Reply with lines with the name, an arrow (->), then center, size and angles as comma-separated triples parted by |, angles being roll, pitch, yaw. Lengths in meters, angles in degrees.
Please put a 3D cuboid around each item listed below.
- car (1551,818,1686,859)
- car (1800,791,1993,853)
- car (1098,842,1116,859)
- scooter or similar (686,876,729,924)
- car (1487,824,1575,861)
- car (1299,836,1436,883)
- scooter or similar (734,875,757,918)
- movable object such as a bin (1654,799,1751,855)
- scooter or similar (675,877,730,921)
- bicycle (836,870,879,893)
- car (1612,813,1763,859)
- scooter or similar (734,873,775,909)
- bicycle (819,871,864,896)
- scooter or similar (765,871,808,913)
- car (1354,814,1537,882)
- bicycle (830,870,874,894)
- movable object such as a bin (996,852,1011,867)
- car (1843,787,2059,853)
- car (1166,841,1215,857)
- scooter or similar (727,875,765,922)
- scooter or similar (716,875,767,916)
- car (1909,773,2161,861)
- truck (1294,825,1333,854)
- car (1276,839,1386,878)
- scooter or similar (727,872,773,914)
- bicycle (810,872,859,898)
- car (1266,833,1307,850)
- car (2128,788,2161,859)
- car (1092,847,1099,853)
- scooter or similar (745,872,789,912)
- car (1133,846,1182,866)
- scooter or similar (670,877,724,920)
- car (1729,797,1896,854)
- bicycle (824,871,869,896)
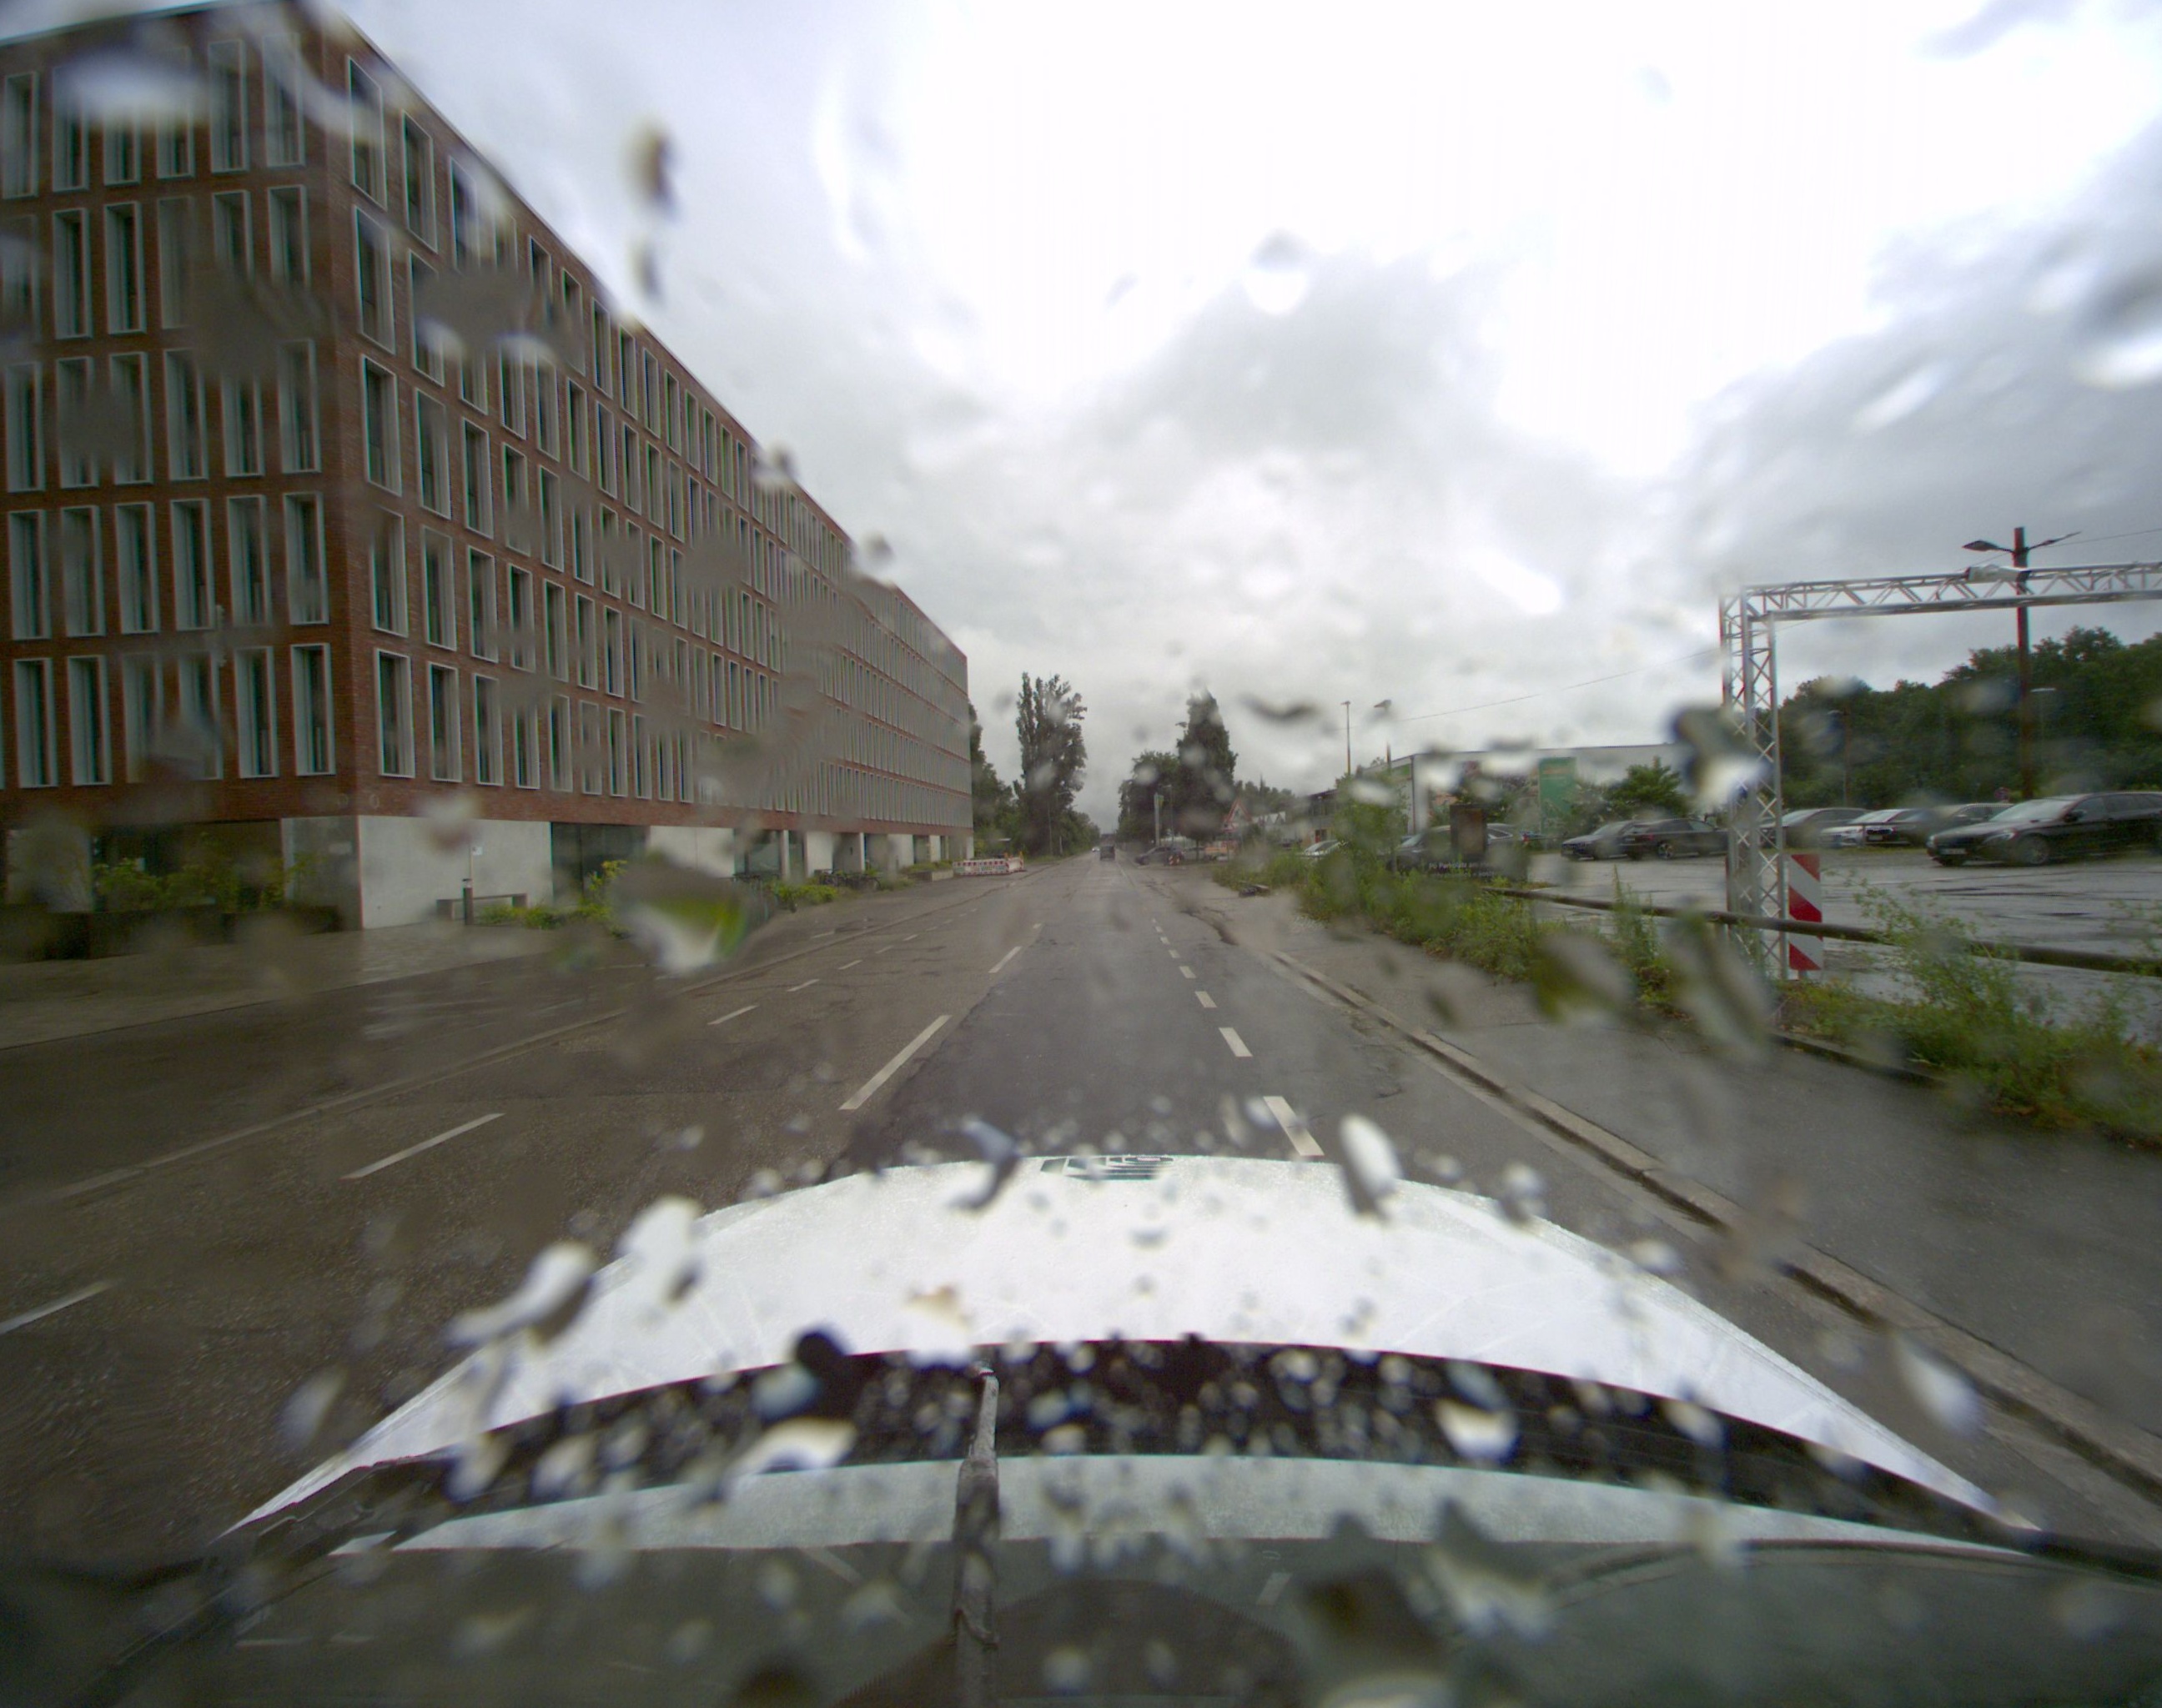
car -> 21.122, -0.580, 32.166 | 3.971, 1.409, 2.001 | -2, -1, 2
car -> 27.838, -1.056, 27.914 | 4.425, 1.672, 2.044 | -5, -1, 1
car -> 3.147, -0.417, 99.302 | 1.986, 1.910, 4.202 | -3, 0, 1
scooter or similar -> -10.214, 1.247, 22.254 | 1.304, 1.230, 0.511 | -3, 0, 40
car -> 25.572, -0.672, 46.373 | 3.973, 1.922, 1.832 | -2, 1, 0
car -> 10.192, 0.201, 29.203 | 4.278, 1.517, 1.820 | -2, -1, 2
scooter or similar -> -9.969, 1.245, 24.185 | 0.468, 1.230, 1.309 | -3, 0, -26
movable object such as a bin -> 35.371, -1.531, 46.431 | 3.972, 2.992, 2.001 | -2, 1, 1
scooter or similar -> -10.807, 1.280, 23.254 | 1.309, 1.177, 0.468 | -3, 0, 7
bicycle -> -10.656, 1.305, 38.827 | 1.853, 1.077, 0.544 | -1, 0, 0
car -> 22.007, -0.628, 29.684 | 3.971, 1.485, 2.001 | -2, -1, 2
scooter or similar -> -11.519, 1.296, 28.718 | 1.219, 1.208, 0.418 | -3, 0, 9
bicycle -> -10.714, 1.326, 36.454 | 1.853, 1.077, 0.544 | -1, 0, 0
scooter or similar -> -9.188, 1.187, 25.396 | 1.304, 1.230, 0.470 | -3, 0, 31
car -> 11.109, -0.169, 25.123 | 4.657, 1.735, 2.132 | -3, -1, 6
bicycle -> -10.689, 1.304, 38.004 | 1.853, 1.077, 0.544 | -1, 0, 0
movable object such as a bin -> -7.452, 0.520, 78.187 | 1.293, 1.308, 1.446 | -2, 1, -4
car -> 27.088, -1.016, 25.491 | 4.425, 1.605, 2.044 | -5, -1, 1
car -> 10.984, -0.497, 81.878 | 4.687, 1.462, 1.891 | -2, 1, 0
scooter or similar -> -9.426, 1.229, 22.928 | 0.464, 1.230, 1.320 | -3, 0, -1
scooter or similar -> -10.449, 1.268, 25.119 | 1.317, 1.177, 0.466 | -3, 0, -10
car -> 21.541, -0.793, 18.002 | 4.610, 1.716, 2.016 | -2, -1, -4
truck -> 23.415, -1.440, 82.393 | 2.290, 2.659, 7.427 | -4, 1, 5
car -> 10.629, 0.209, 34.875 | 4.165, 1.510, 1.891 | -2, -1, 2
scooter or similar -> -10.559, 1.229, 25.996 | 0.461, 1.230, 1.215 | -3, 0, 44
bicycle -> -10.730, 1.343, 35.514 | 1.941, 1.077, 0.620 | -1, 0, 0
car -> 24.763, -1.549, 98.189 | 4.344, 1.832, 2.065 | -3, 1, 3
car -> 26.848, -0.894, 17.976 | 4.685, 1.605, 2.044 | -5, -1, 1
car -> 4.010, -1.230, 228.009 | 1.726, 1.450, 4.384 | -5, 1, 3
scooter or similar -> -10.319, 1.232, 26.787 | 0.461, 1.208, 1.215 | -3, 0, 44
car -> 6.998, 0.170, 74.677 | 4.131, 1.569, 1.761 | -3, 0, -7
scooter or similar -> -11.232, 1.301, 23.823 | 1.309, 1.177, 0.468 | -3, 0, 7
car -> 27.523, -1.039, 30.756 | 4.428, 1.672, 2.043 | -5, -1, -1
bicycle -> -10.689, 1.327, 37.110 | 1.853, 1.077, 0.544 | -1, 0, 0
